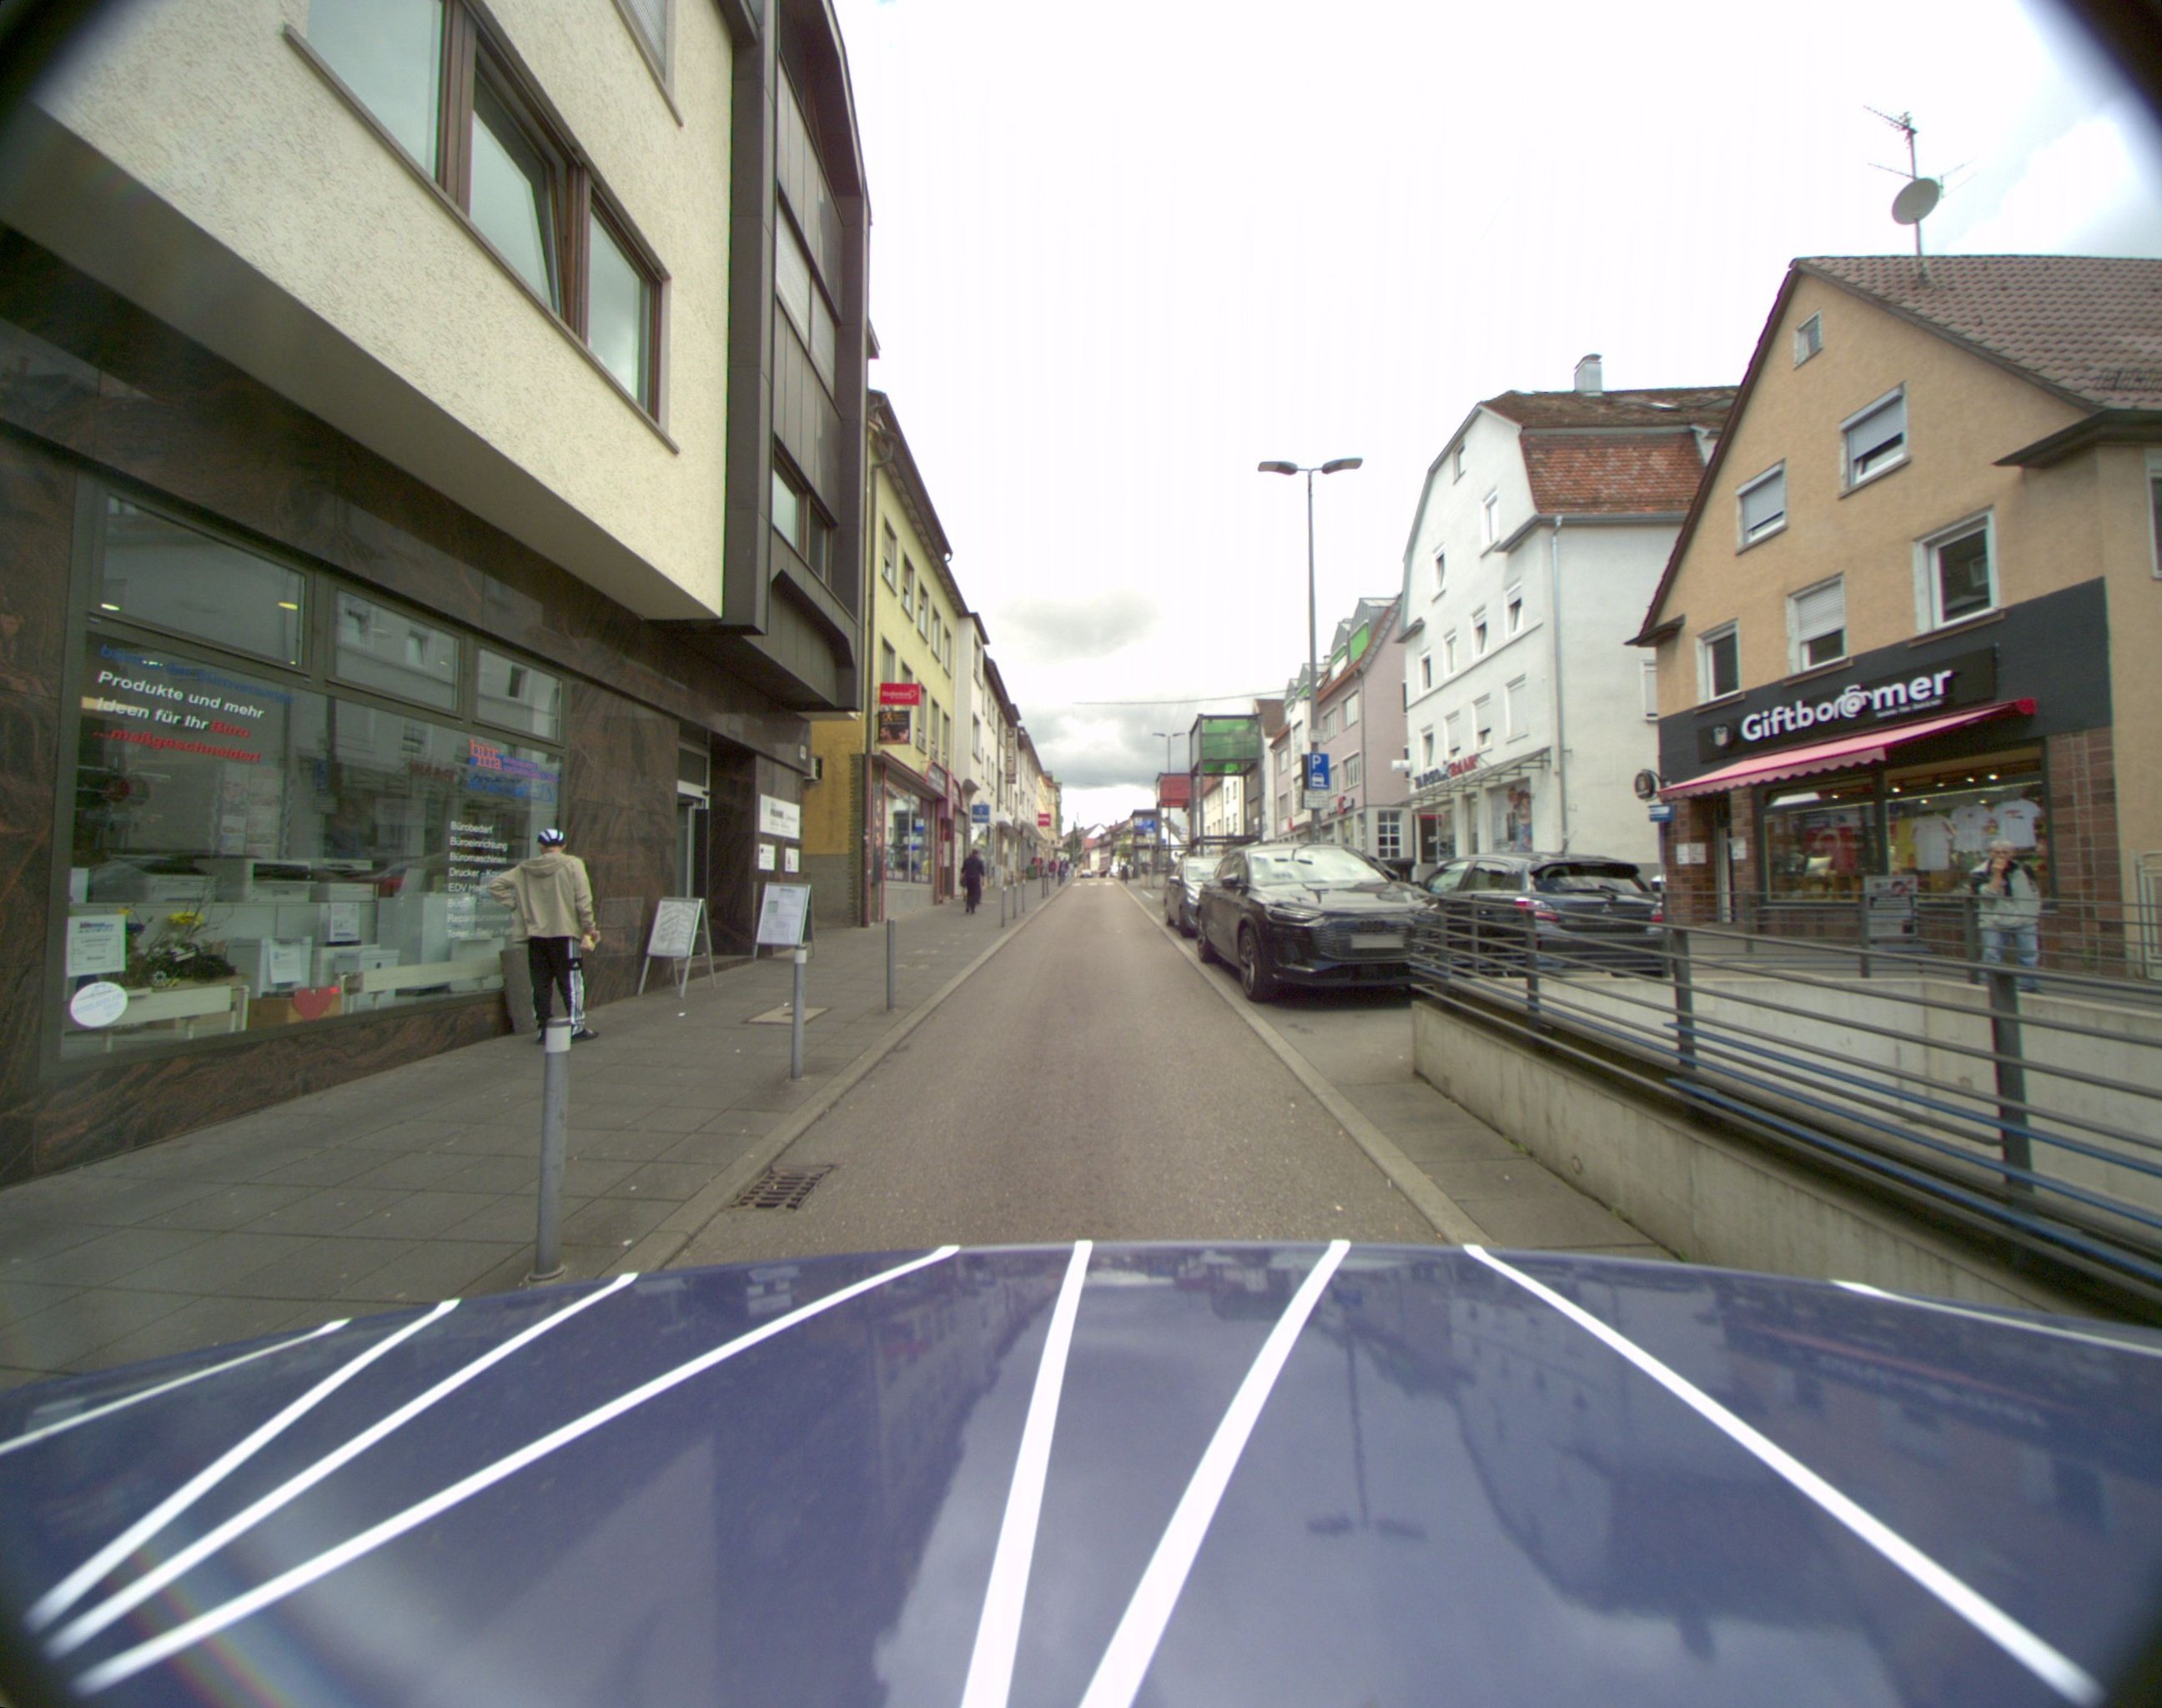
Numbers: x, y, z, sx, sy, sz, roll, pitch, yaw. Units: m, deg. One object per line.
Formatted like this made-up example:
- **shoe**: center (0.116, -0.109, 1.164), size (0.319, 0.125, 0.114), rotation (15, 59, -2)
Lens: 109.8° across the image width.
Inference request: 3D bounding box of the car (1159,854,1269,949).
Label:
- **car**: center (2.499, 0.830, 15.002), size (1.577, 1.600, 3.533), rotation (-2, 0, 1)

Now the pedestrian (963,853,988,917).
- **pedestrian**: center (-2.794, 0.806, 20.169), size (0.639, 1.689, 0.708), rotation (0, 1, -5)

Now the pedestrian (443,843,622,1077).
- **pedestrian**: center (-4.189, 0.767, 5.863), size (0.760, 1.663, 0.780), rotation (2, 0, -2)

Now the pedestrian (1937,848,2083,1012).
- **pedestrian**: center (10.057, 0.793, 8.249), size (0.748, 1.704, 0.664), rotation (0, 1, 1)

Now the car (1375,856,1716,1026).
- **car**: center (5.106, 0.820, 9.074), size (1.703, 1.538, 3.898), rotation (-2, 0, 1)

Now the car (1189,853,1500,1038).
- **car**: center (2.620, 0.795, 8.852), size (1.999, 1.557, 4.431), rotation (-2, 0, -1)

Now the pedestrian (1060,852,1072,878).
- **pedestrian**: center (-1.007, 0.778, 52.238), size (0.761, 1.764, 0.851), rotation (0, 1, -6)

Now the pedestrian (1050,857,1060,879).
- **pedestrian**: center (-1.765, 0.946, 52.072), size (0.663, 1.519, 0.705), rotation (0, 1, -6)

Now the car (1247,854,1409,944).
- **car**: center (5.012, 0.818, 16.152), size (1.998, 1.580, 4.494), rotation (-2, 0, 1)
